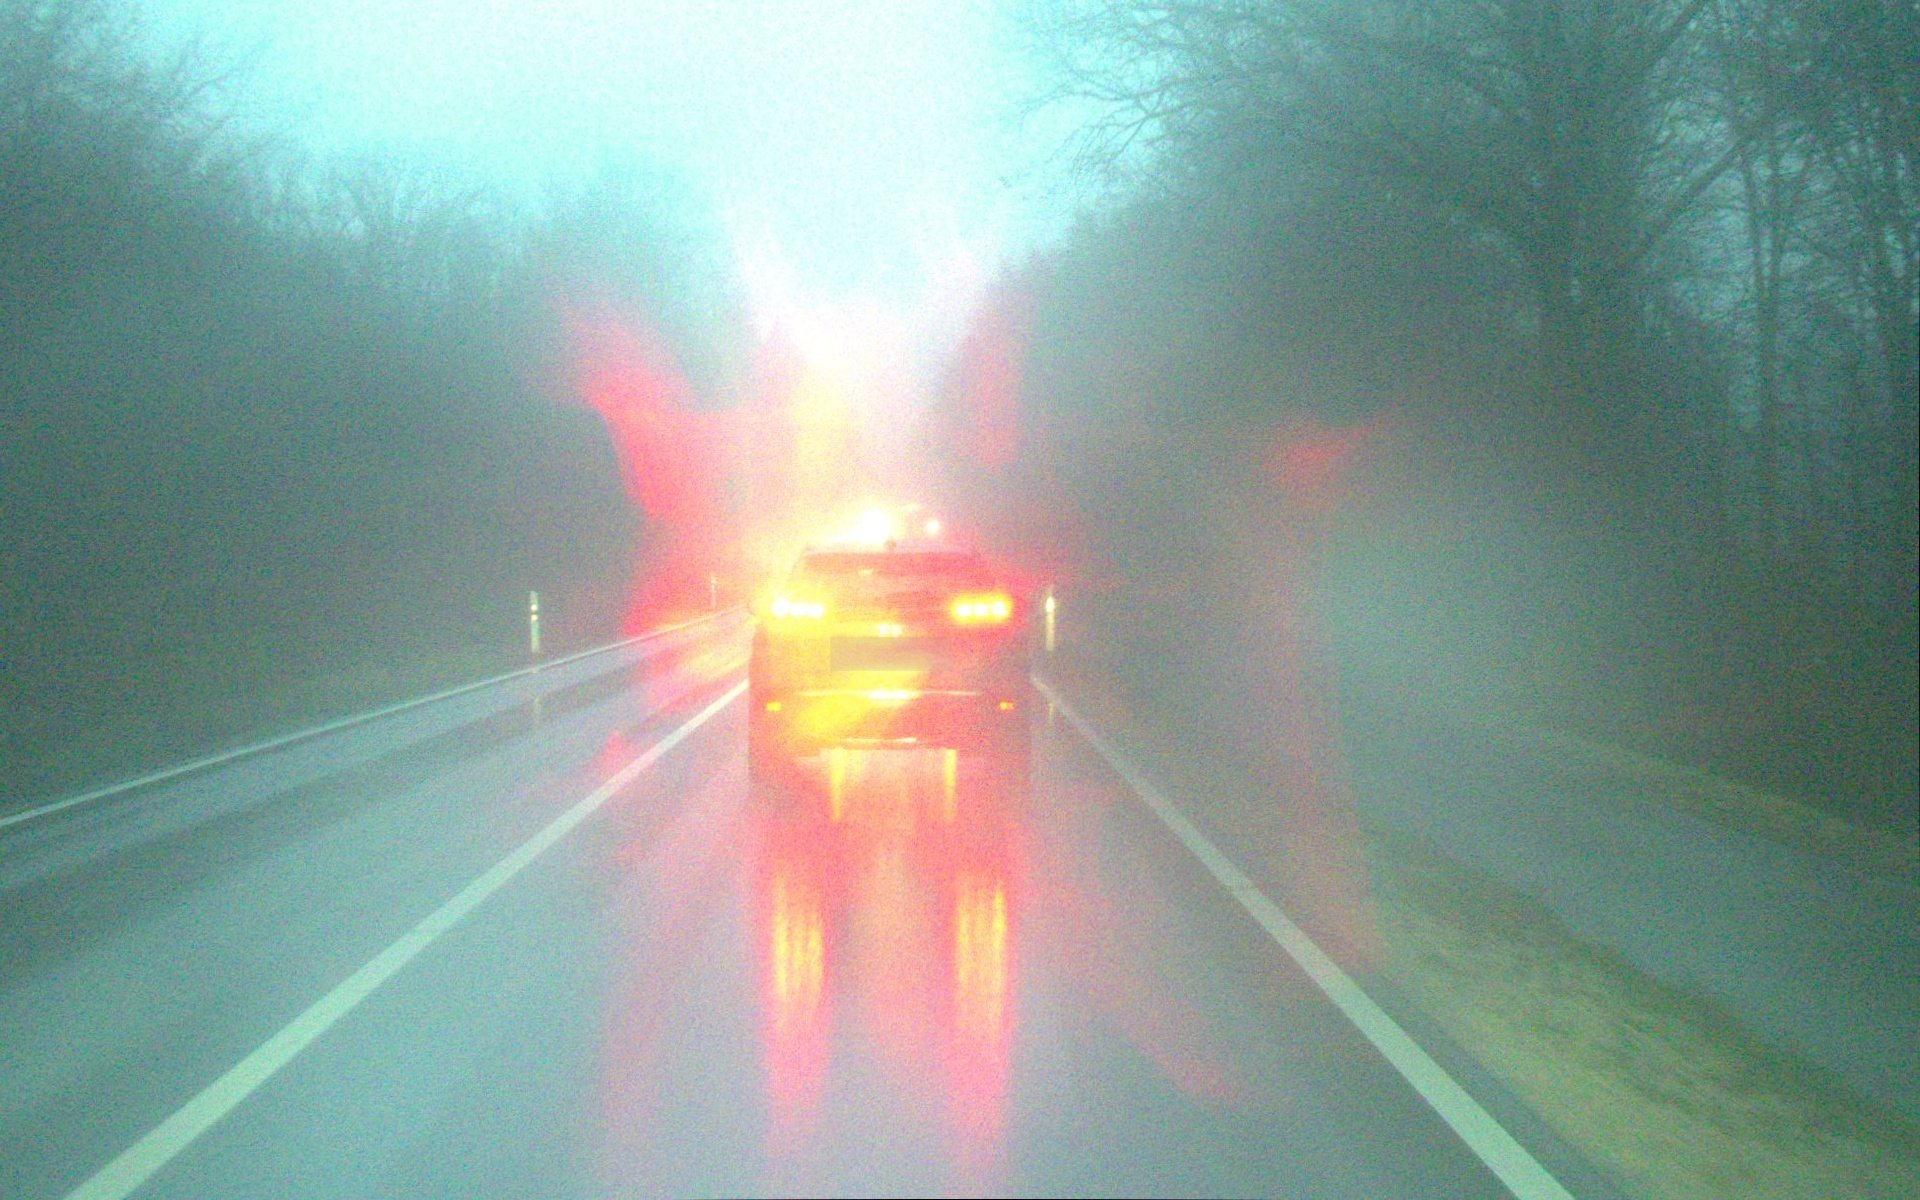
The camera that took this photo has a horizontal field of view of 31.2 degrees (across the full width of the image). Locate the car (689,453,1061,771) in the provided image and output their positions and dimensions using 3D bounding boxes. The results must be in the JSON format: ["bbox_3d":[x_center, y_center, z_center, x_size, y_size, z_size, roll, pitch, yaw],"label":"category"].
[{"bbox_3d":[-0.559,0.016,22.942,2.198,1.871,4.827,1,1,-1],"label":"car"}]
